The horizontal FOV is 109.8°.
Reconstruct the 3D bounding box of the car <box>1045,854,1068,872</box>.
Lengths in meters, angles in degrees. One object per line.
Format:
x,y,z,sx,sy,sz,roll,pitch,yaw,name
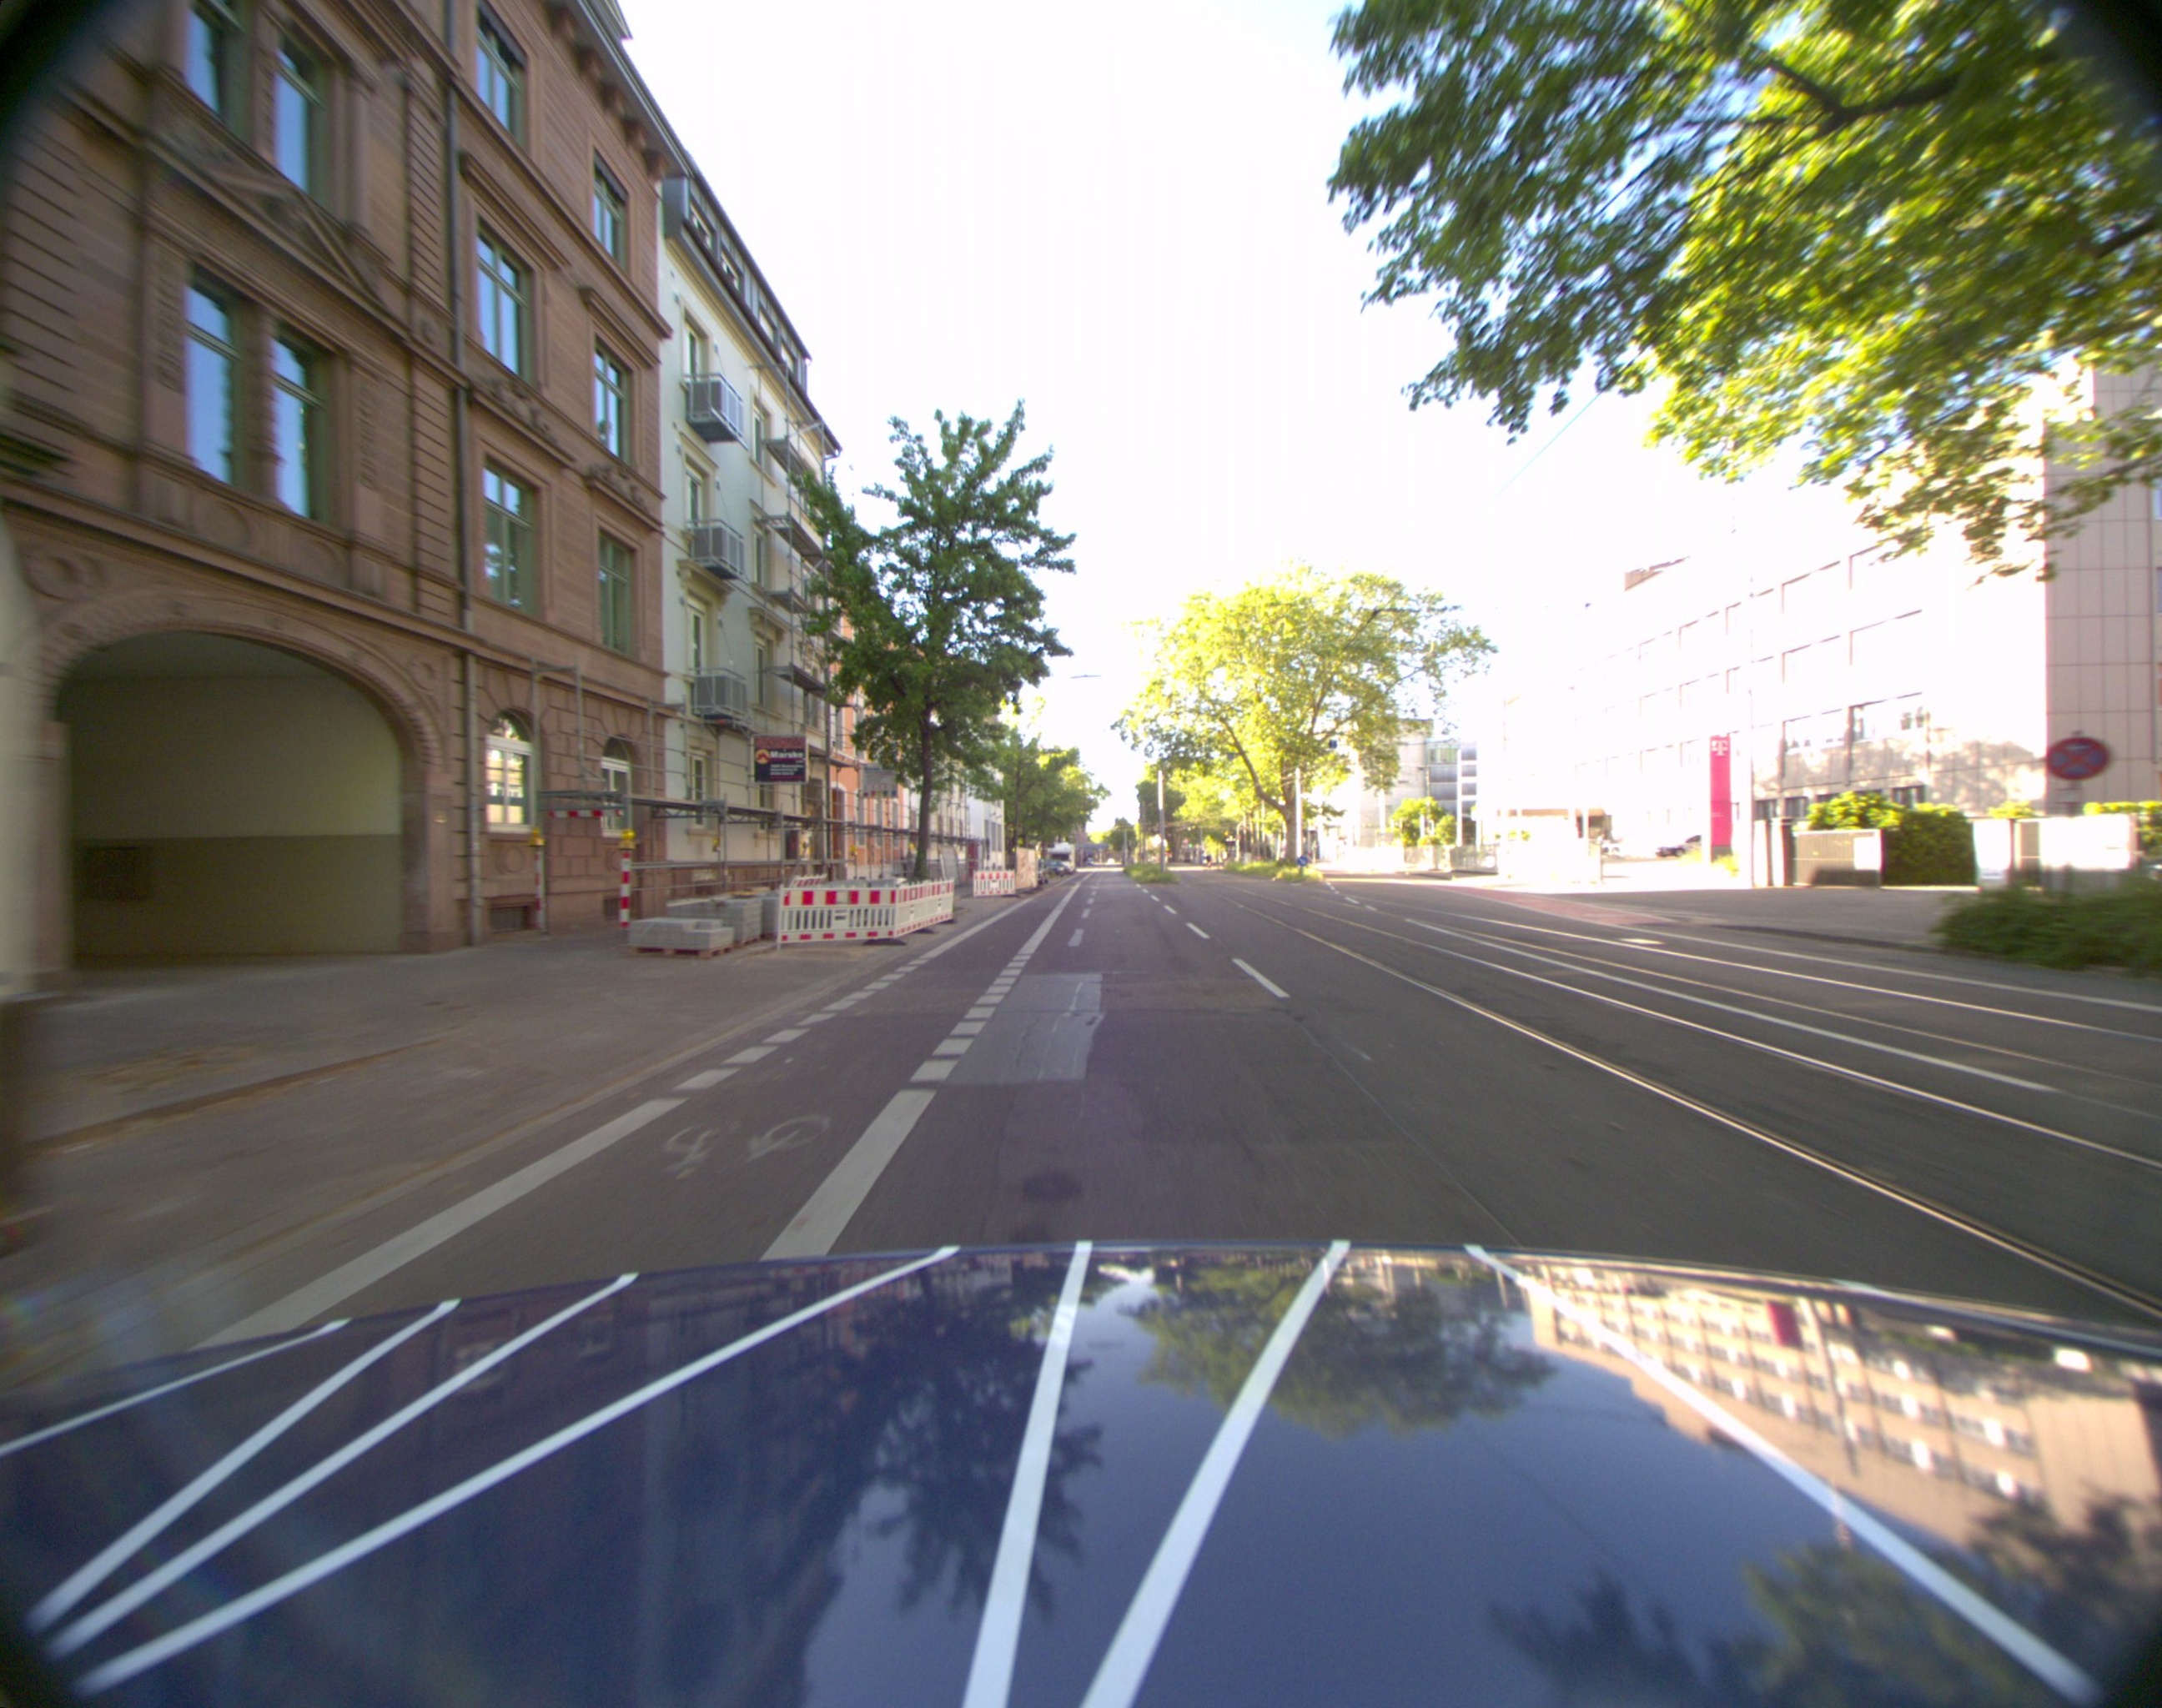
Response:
-1.995,0.710,62.966,1.656,1.439,3.801,0,0,1,car

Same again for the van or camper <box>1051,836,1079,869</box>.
-1.463,-0.144,73.163,2.172,3.074,7.291,0,0,3,van or camper

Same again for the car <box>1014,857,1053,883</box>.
-2.843,0.947,46.110,1.767,1.475,4.111,0,0,5,car

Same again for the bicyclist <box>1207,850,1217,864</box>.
14.566,0.330,84.660,1.006,1.567,0.761,-1,1,13,bicyclist

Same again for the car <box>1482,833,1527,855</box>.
36.467,-0.819,65.537,1.852,1.807,4.000,-1,0,3,car

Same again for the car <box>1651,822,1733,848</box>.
43.691,-1.356,54.421,4.277,1.709,1.854,-1,1,3,car

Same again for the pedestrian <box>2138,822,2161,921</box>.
18.863,0.296,13.006,0.636,1.687,0.656,-2,1,-4,pedestrian

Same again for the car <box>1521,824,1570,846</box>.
39.408,-1.600,64.548,1.852,1.742,4.000,-1,0,3,car

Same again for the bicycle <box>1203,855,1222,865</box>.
14.666,0.680,84.650,2.080,1.122,0.761,-1,1,13,bicycle
